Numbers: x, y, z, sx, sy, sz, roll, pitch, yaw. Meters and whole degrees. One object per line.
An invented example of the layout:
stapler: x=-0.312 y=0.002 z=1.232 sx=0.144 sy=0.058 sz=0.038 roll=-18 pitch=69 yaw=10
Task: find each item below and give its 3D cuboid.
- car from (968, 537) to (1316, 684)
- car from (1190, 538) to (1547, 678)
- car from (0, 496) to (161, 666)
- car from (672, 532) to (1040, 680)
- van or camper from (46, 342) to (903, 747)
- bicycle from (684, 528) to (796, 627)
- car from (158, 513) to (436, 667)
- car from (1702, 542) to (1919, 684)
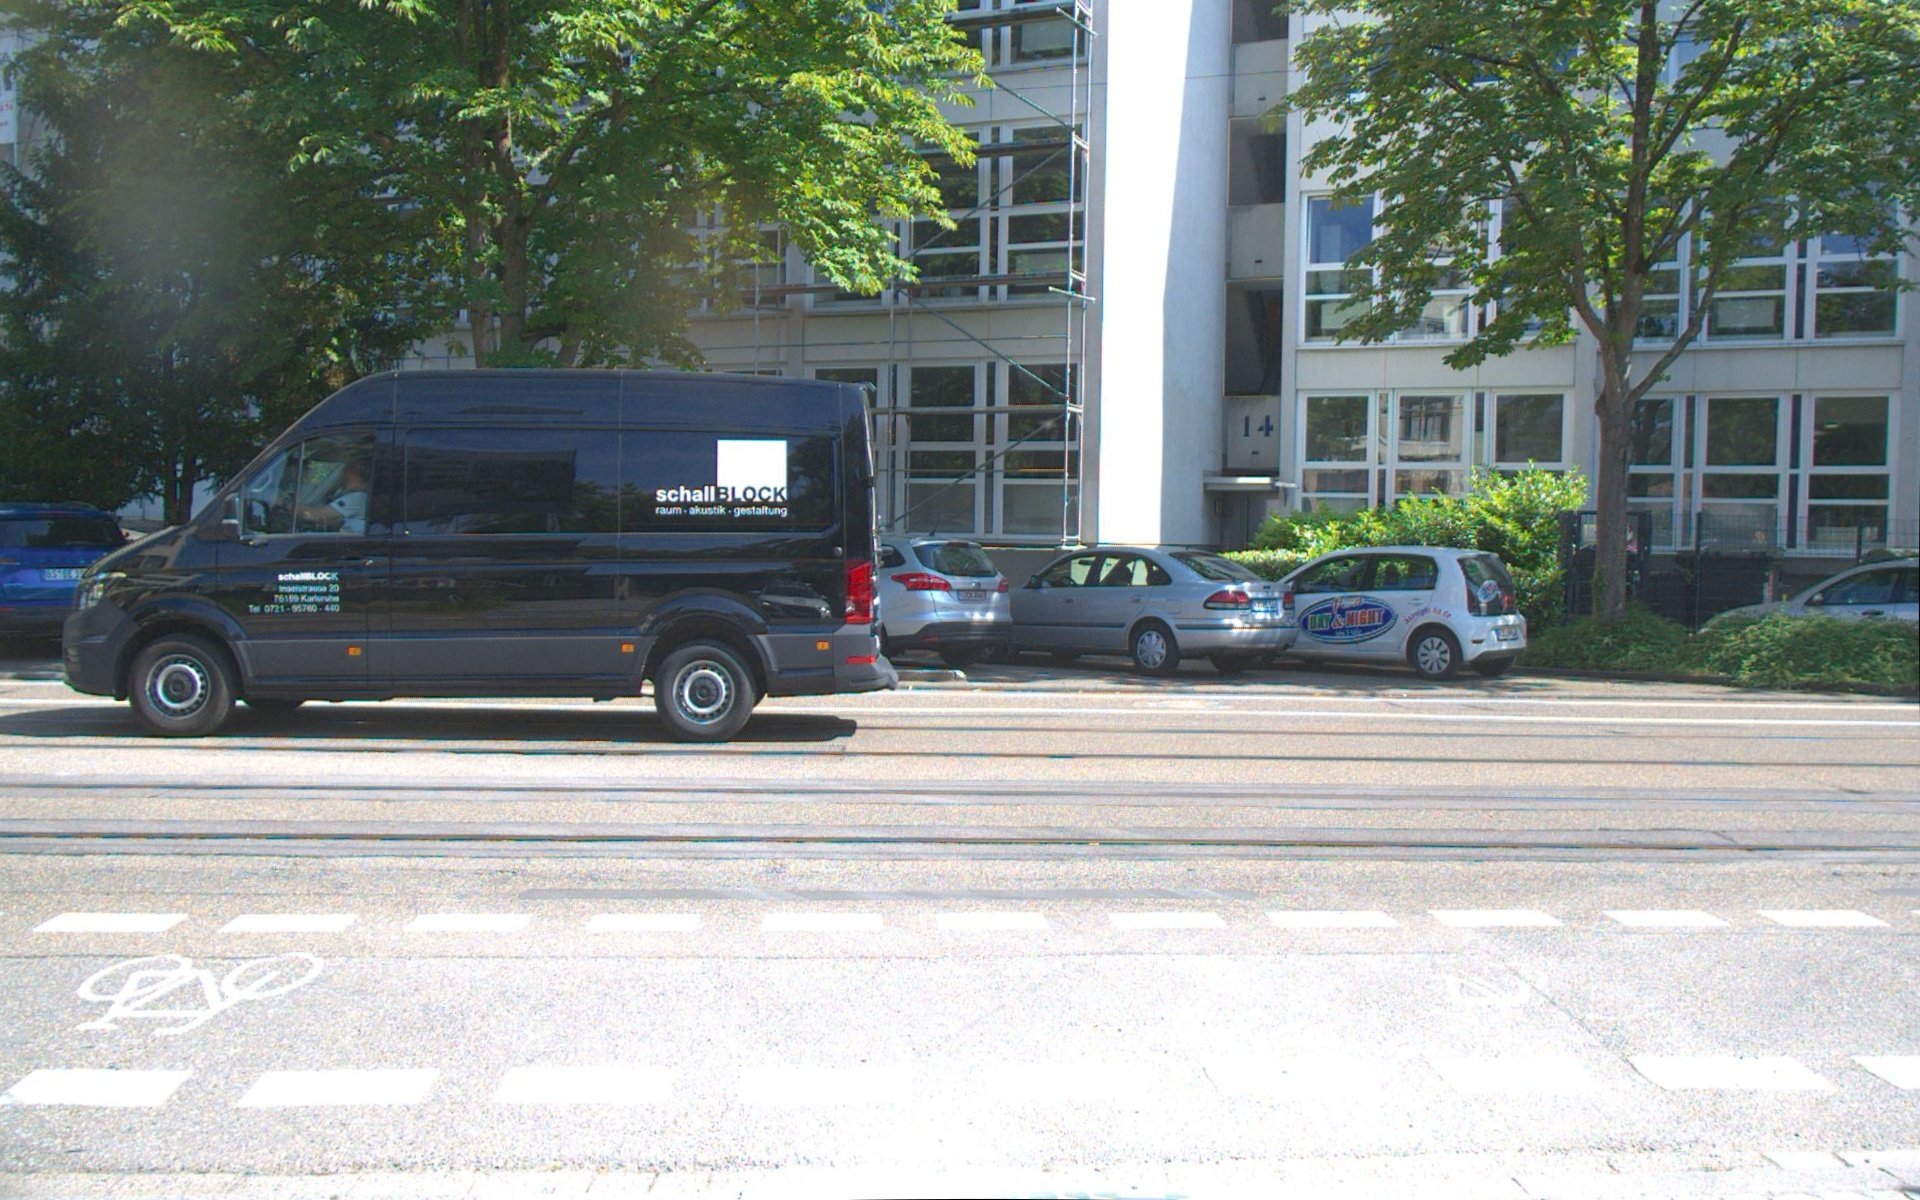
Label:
car: x=2.043 y=0.046 z=19.326 sx=3.878 sy=1.511 sz=1.602 roll=3 pitch=3 yaw=44
car: x=4.792 y=0.033 z=19.727 sx=3.876 sy=1.512 sz=1.603 roll=1 pitch=2 yaw=43
car: x=-10.480 y=-0.303 z=18.397 sx=1.767 sy=1.650 sz=3.883 roll=-2 pitch=5 yaw=-44
car: x=-1.304 y=-0.013 z=19.402 sx=4.356 sy=1.511 sz=1.774 roll=3 pitch=3 yaw=42
van or camper: x=-3.321 y=-0.389 z=12.290 sx=5.726 sy=2.665 sz=2.050 roll=1 pitch=2 yaw=-4
bicycle: x=-3.417 y=-0.366 z=25.834 sx=0.648 sy=1.478 sz=2.088 roll=2 pitch=2 yaw=27
car: x=-7.494 y=-0.175 z=18.578 sx=3.397 sy=1.557 sz=1.567 roll=3 pitch=3 yaw=42
car: x=11.472 y=0.150 z=20.055 sx=4.262 sy=1.632 sz=1.551 roll=2 pitch=2 yaw=39
